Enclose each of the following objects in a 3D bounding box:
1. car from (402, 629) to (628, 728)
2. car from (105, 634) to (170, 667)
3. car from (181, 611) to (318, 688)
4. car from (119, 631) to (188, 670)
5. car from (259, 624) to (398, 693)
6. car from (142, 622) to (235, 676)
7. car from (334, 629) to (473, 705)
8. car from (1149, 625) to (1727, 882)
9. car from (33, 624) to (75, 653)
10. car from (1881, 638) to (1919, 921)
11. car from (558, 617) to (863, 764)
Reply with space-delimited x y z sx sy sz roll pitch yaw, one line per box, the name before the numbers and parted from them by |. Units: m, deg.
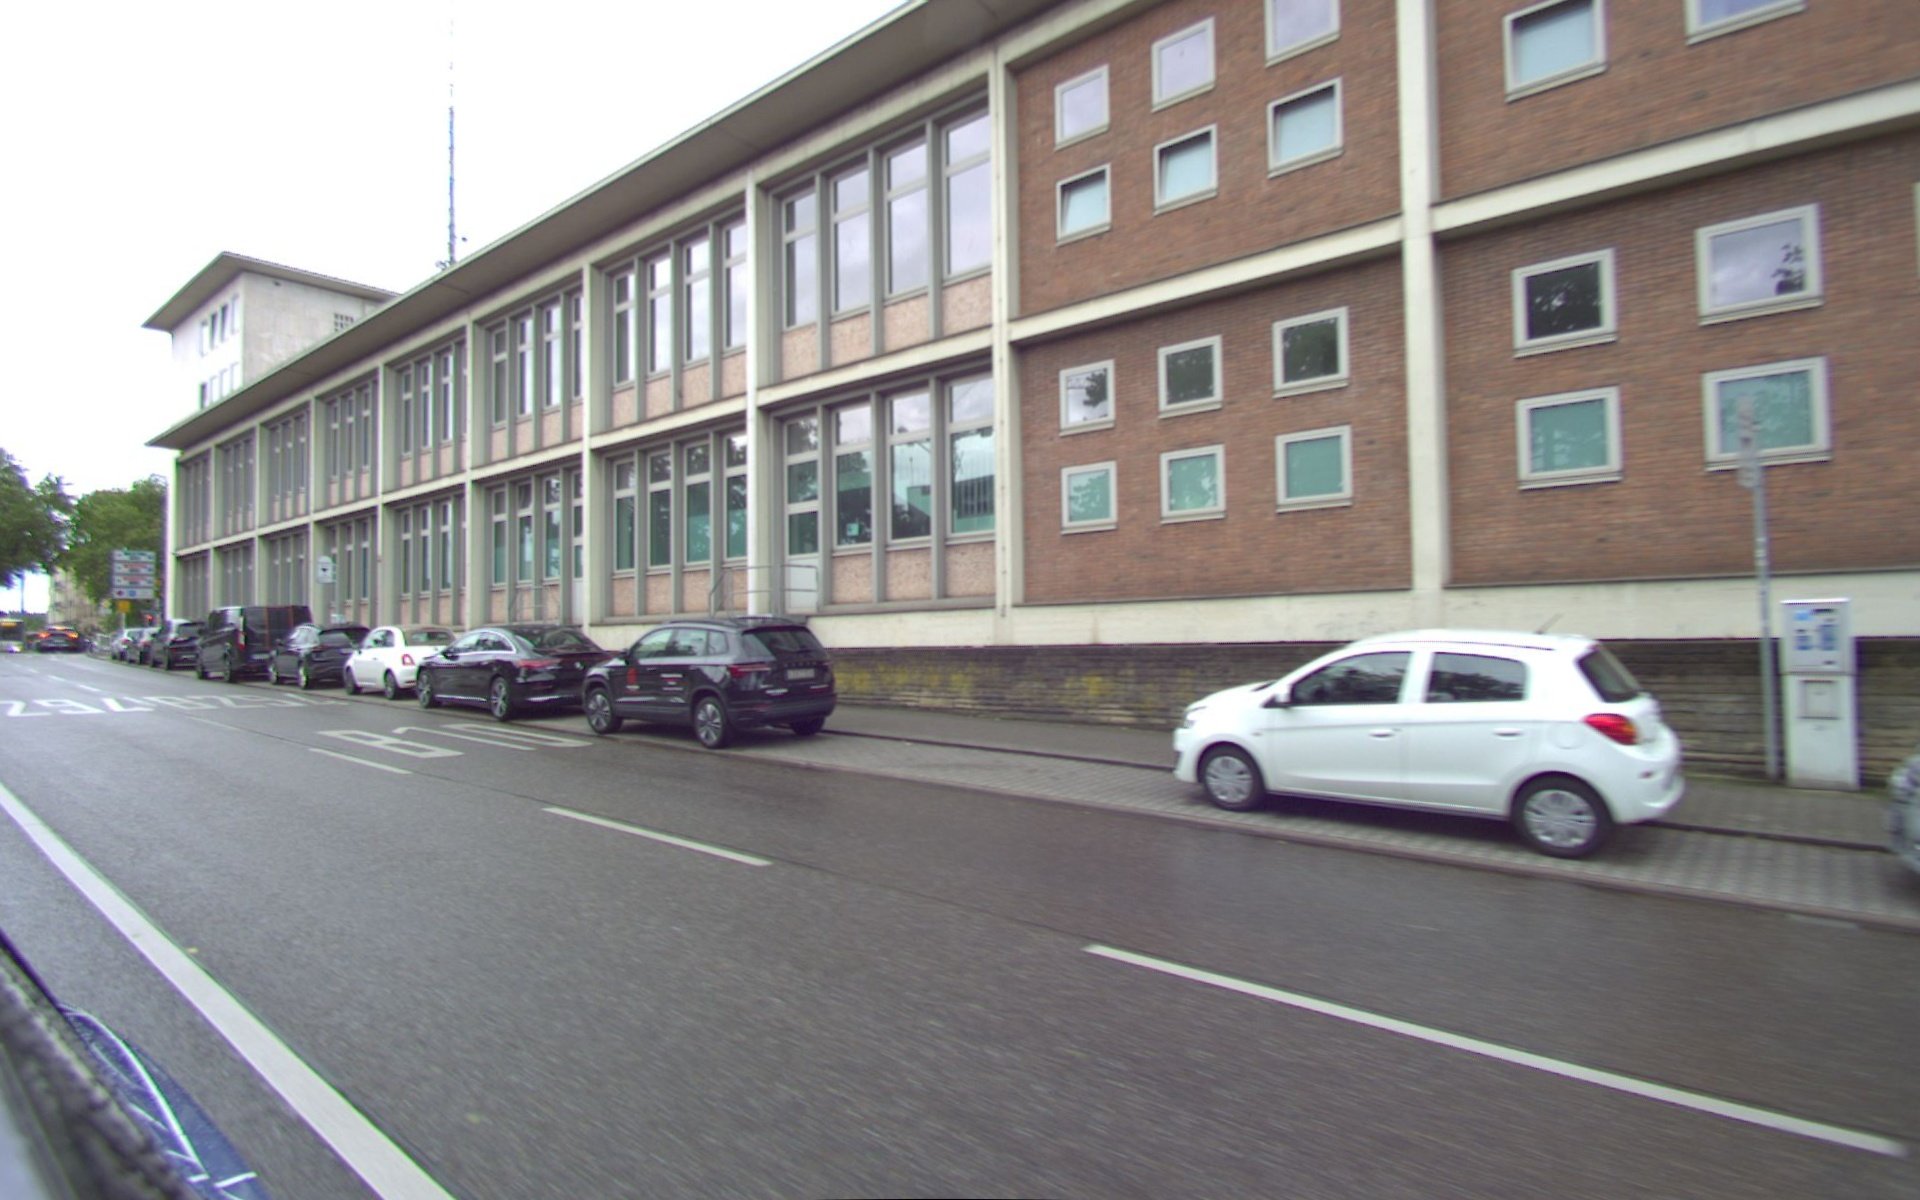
car | -7.944 1.281 17.830 4.907 1.495 1.796 -2 -2 42
car | -33.936 2.049 41.715 4.095 1.307 1.672 -2 -2 45
car | -19.752 1.316 28.052 4.993 1.958 1.929 -1 -2 41
car | -30.133 1.860 37.768 4.112 1.364 1.525 -2 -3 45
car | -15.620 1.389 24.940 4.312 1.564 1.840 -2 -3 43
car | -26.075 1.605 34.146 4.604 1.688 1.777 -1 -2 44
car | -11.891 1.372 21.556 3.552 1.495 1.549 -2 -3 43
car | 3.665 0.992 8.156 3.918 1.534 1.662 -1 -1 41
car | -54.930 2.307 61.319 1.800 1.673 4.341 2 -2 -43
car | 7.365 0.970 4.683 4.482 1.446 1.730 -1 0 40
car | -3.571 1.100 14.021 4.513 1.666 1.822 -1 0 41
